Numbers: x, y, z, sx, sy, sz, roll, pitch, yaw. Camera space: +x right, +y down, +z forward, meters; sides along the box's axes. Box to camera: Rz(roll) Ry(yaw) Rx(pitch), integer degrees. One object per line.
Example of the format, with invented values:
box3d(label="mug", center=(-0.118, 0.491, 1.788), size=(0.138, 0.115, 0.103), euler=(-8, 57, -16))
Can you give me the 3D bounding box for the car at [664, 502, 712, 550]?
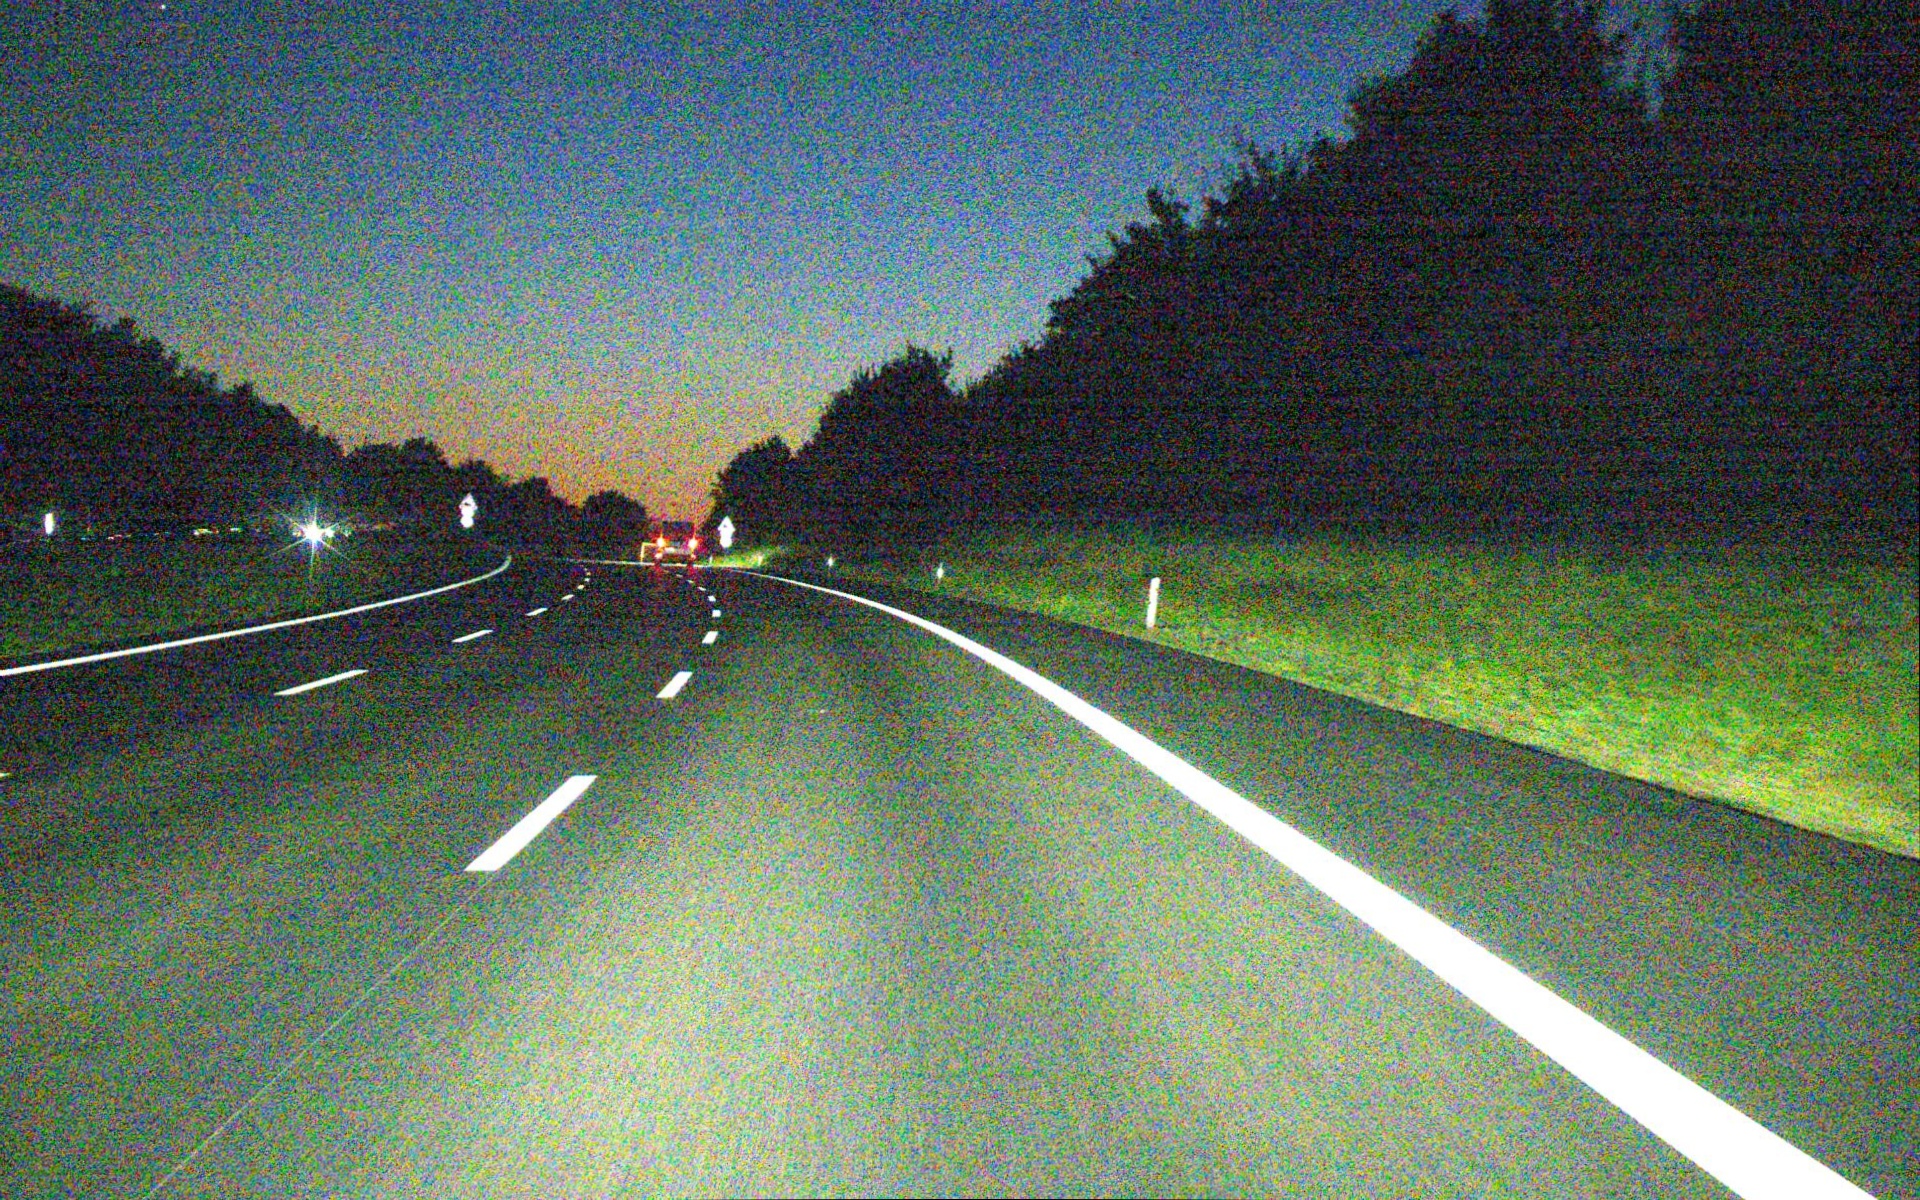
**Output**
box3d(label="car", center=(-15.439, -4.155, 194.723), size=(2.527, 2.544, 6.052), euler=(3, 0, -5))
